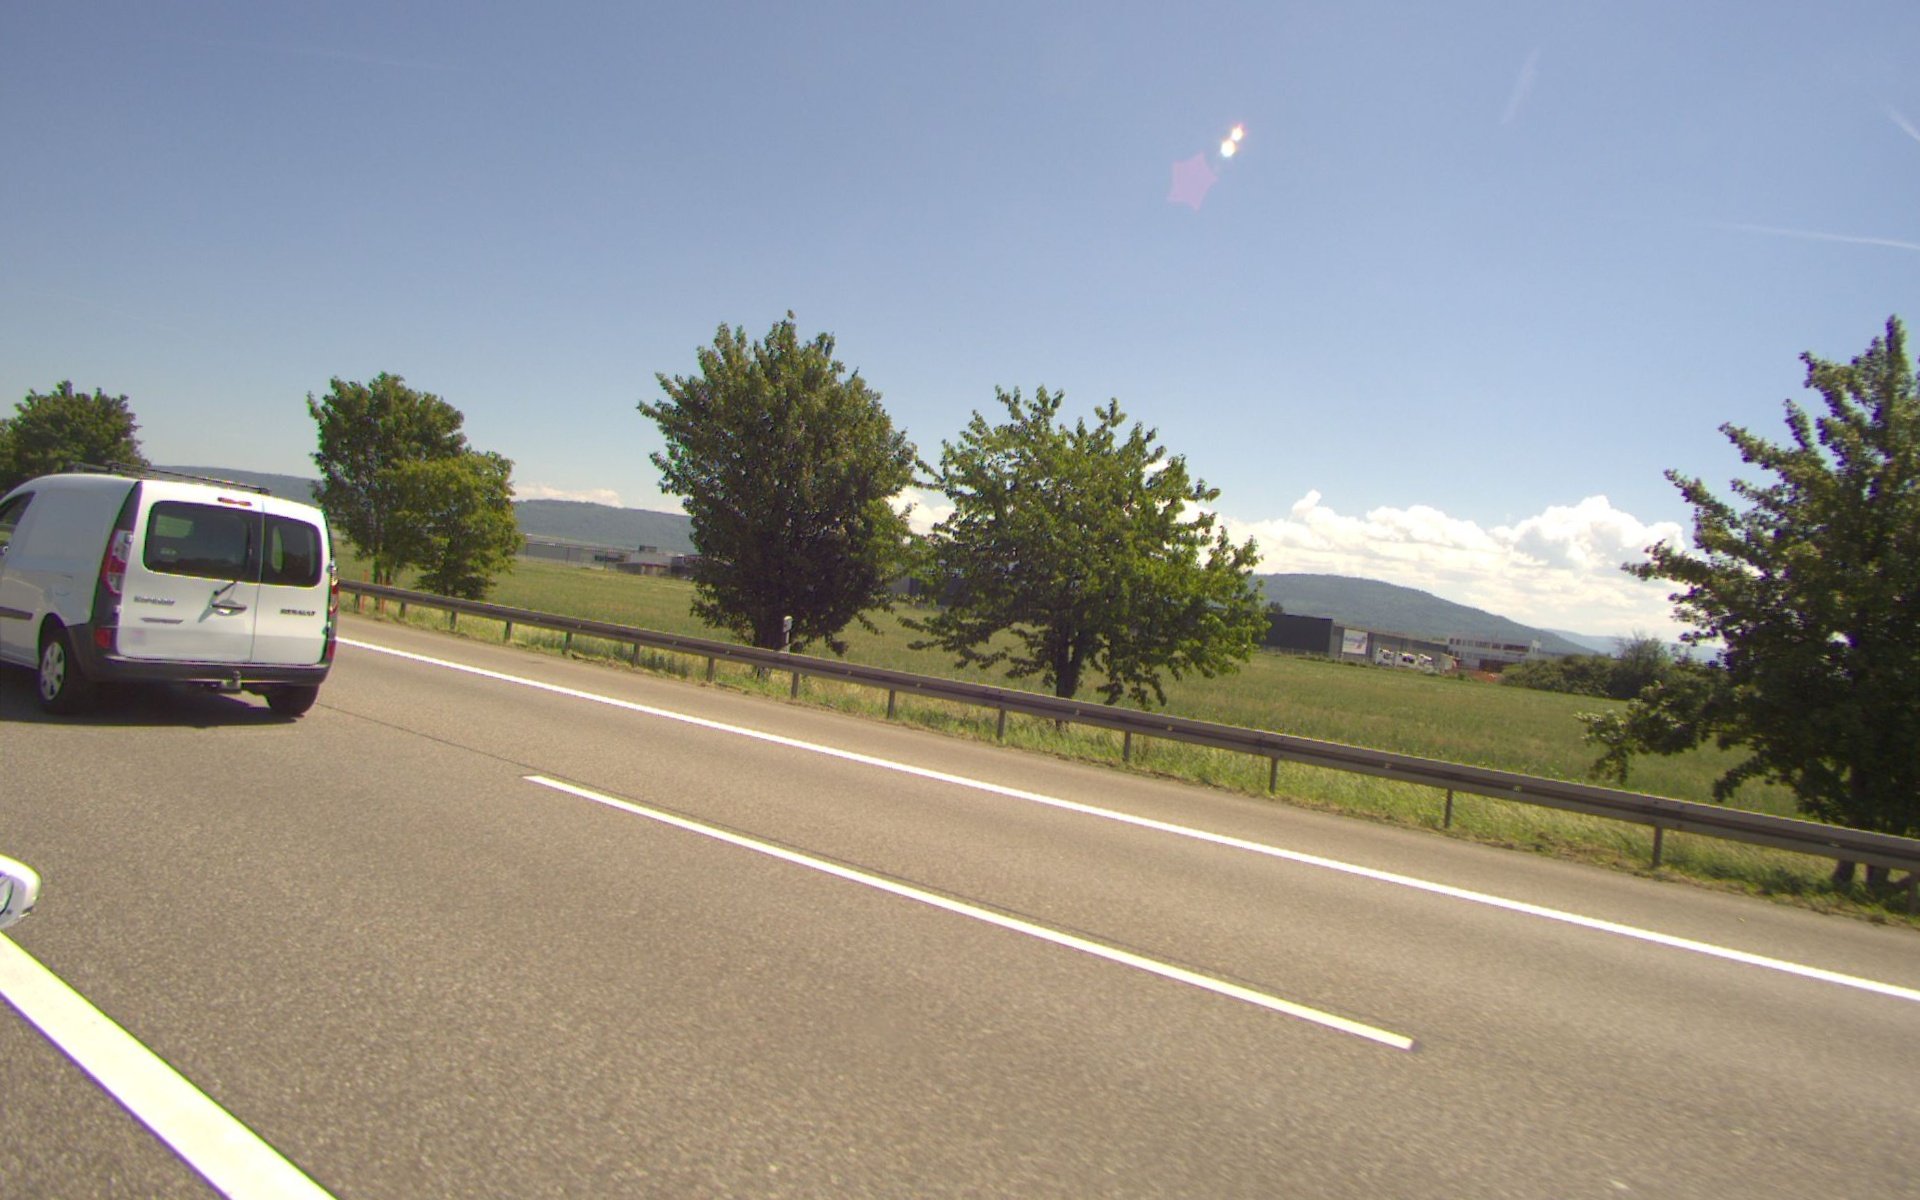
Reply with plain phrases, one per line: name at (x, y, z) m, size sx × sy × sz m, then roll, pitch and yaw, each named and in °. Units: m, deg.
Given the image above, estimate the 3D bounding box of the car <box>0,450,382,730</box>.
car at (-7.404, -0.180, 8.852) m, size 4.623 × 1.884 × 1.857 m, roll 7°, pitch -1°, yaw 31°
